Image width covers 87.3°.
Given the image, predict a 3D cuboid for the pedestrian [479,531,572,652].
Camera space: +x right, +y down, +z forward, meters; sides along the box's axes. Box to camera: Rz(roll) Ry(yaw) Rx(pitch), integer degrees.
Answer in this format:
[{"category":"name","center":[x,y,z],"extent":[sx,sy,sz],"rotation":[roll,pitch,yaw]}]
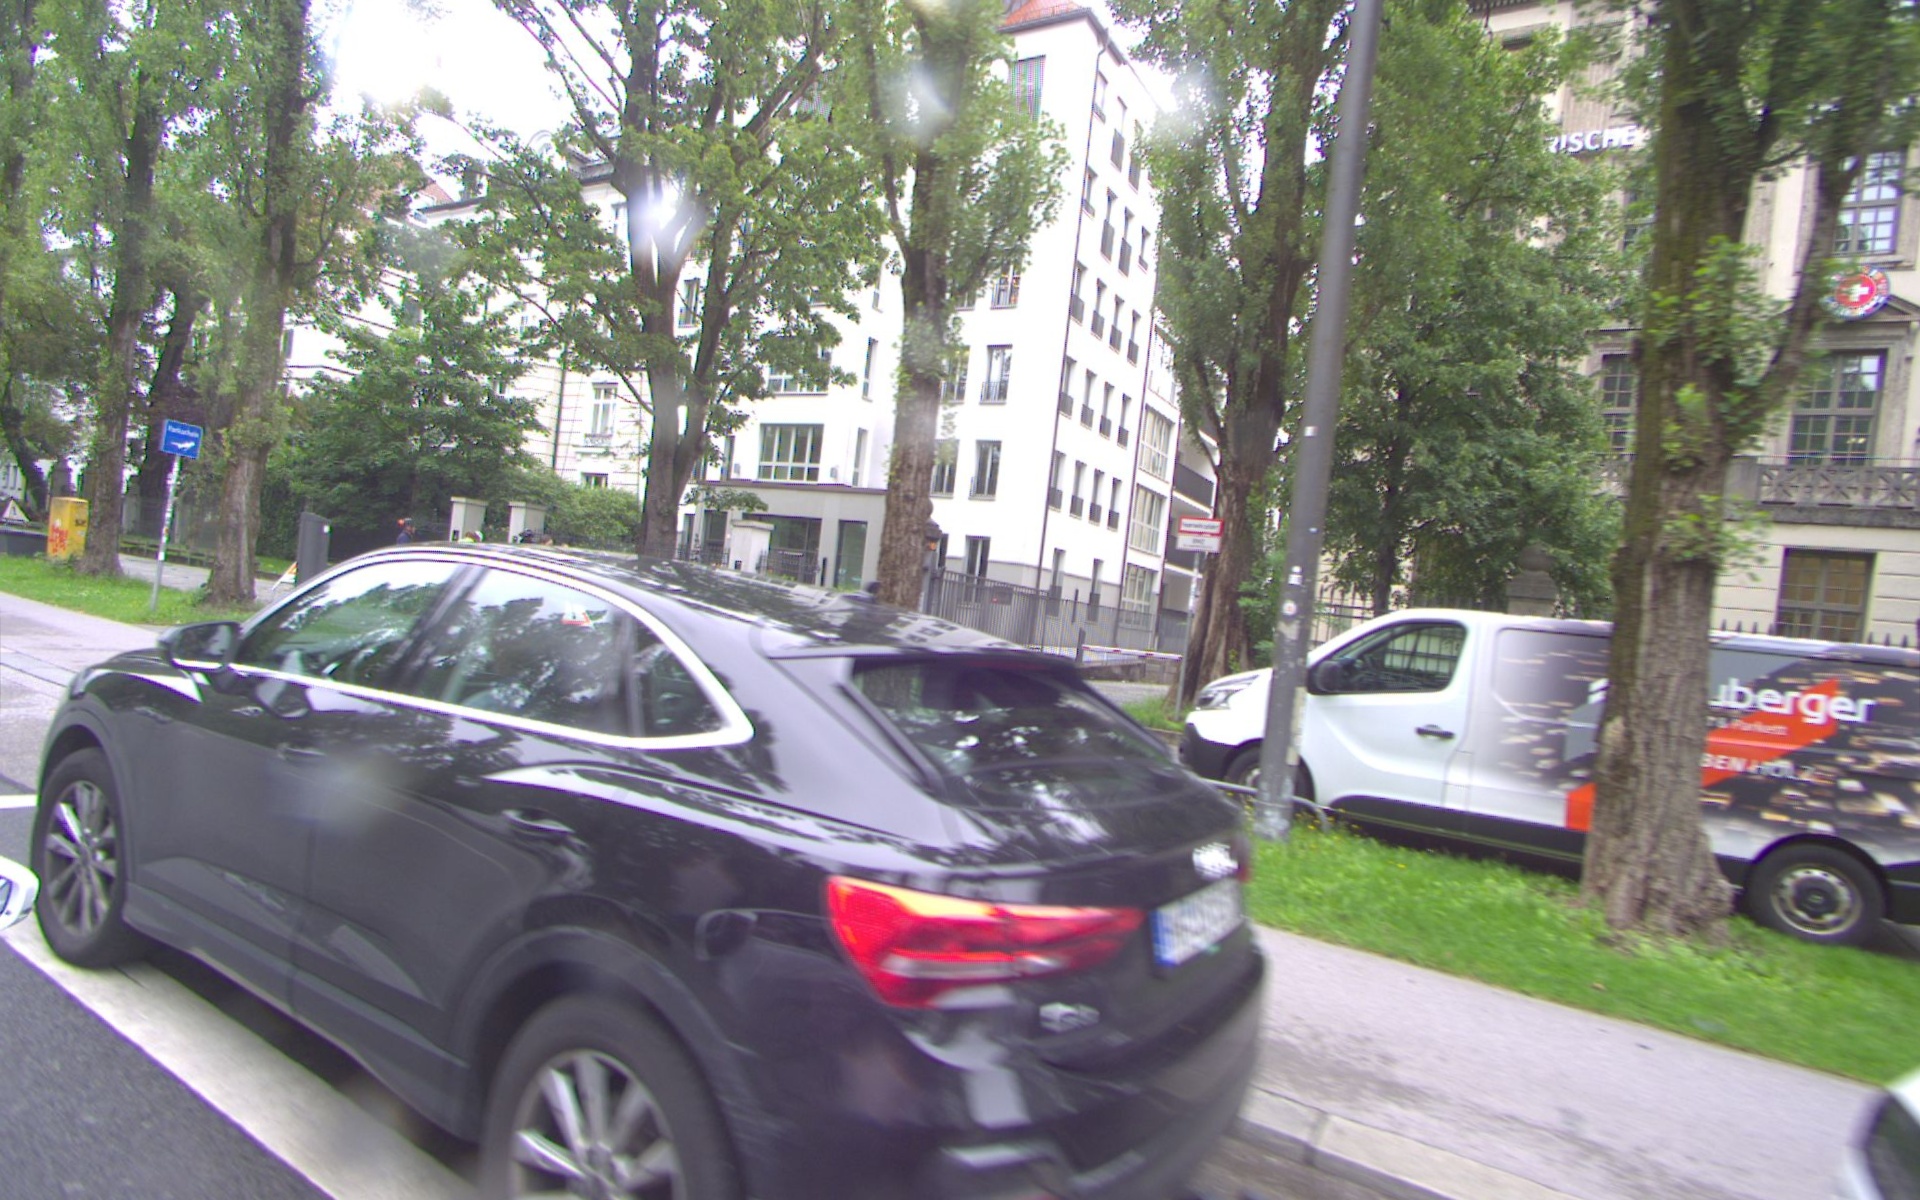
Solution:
[{"category":"pedestrian","center":[-6.636,-0.125,15.383],"extent":[0.853,1.739,0.854],"rotation":[7,2,31]}]

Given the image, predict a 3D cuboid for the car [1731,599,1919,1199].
[{"category":"car","center":[3.302,1.067,0.390],"extent":[4.503,1.696,1.745],"rotation":[7,0,31]}]

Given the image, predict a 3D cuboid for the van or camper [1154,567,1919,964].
[{"category":"van or camper","center":[4.503,1.047,7.943],"extent":[5.280,1.957,2.079],"rotation":[7,-1,32]}]

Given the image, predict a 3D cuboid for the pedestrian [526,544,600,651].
[{"category":"pedestrian","center":[-6.343,-0.038,16.070],"extent":[0.853,1.599,0.568],"rotation":[7,1,31]}]

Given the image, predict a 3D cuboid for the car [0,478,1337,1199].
[{"category":"car","center":[-1.307,0.608,3.353],"extent":[4.390,1.560,1.882],"rotation":[7,0,32]}]

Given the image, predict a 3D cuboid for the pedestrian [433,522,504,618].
[{"category":"pedestrian","center":[-9.816,-0.589,20.101],"extent":[0.805,1.804,0.802],"rotation":[6,1,14]}]

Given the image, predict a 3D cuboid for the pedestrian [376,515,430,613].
[{"category":"pedestrian","center":[-11.190,-0.723,20.221],"extent":[0.626,1.886,0.488],"rotation":[6,1,14]}]

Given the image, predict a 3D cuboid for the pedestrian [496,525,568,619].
[{"category":"pedestrian","center":[-8.933,-0.562,21.017],"extent":[0.814,1.823,0.904],"rotation":[9,2,11]}]
